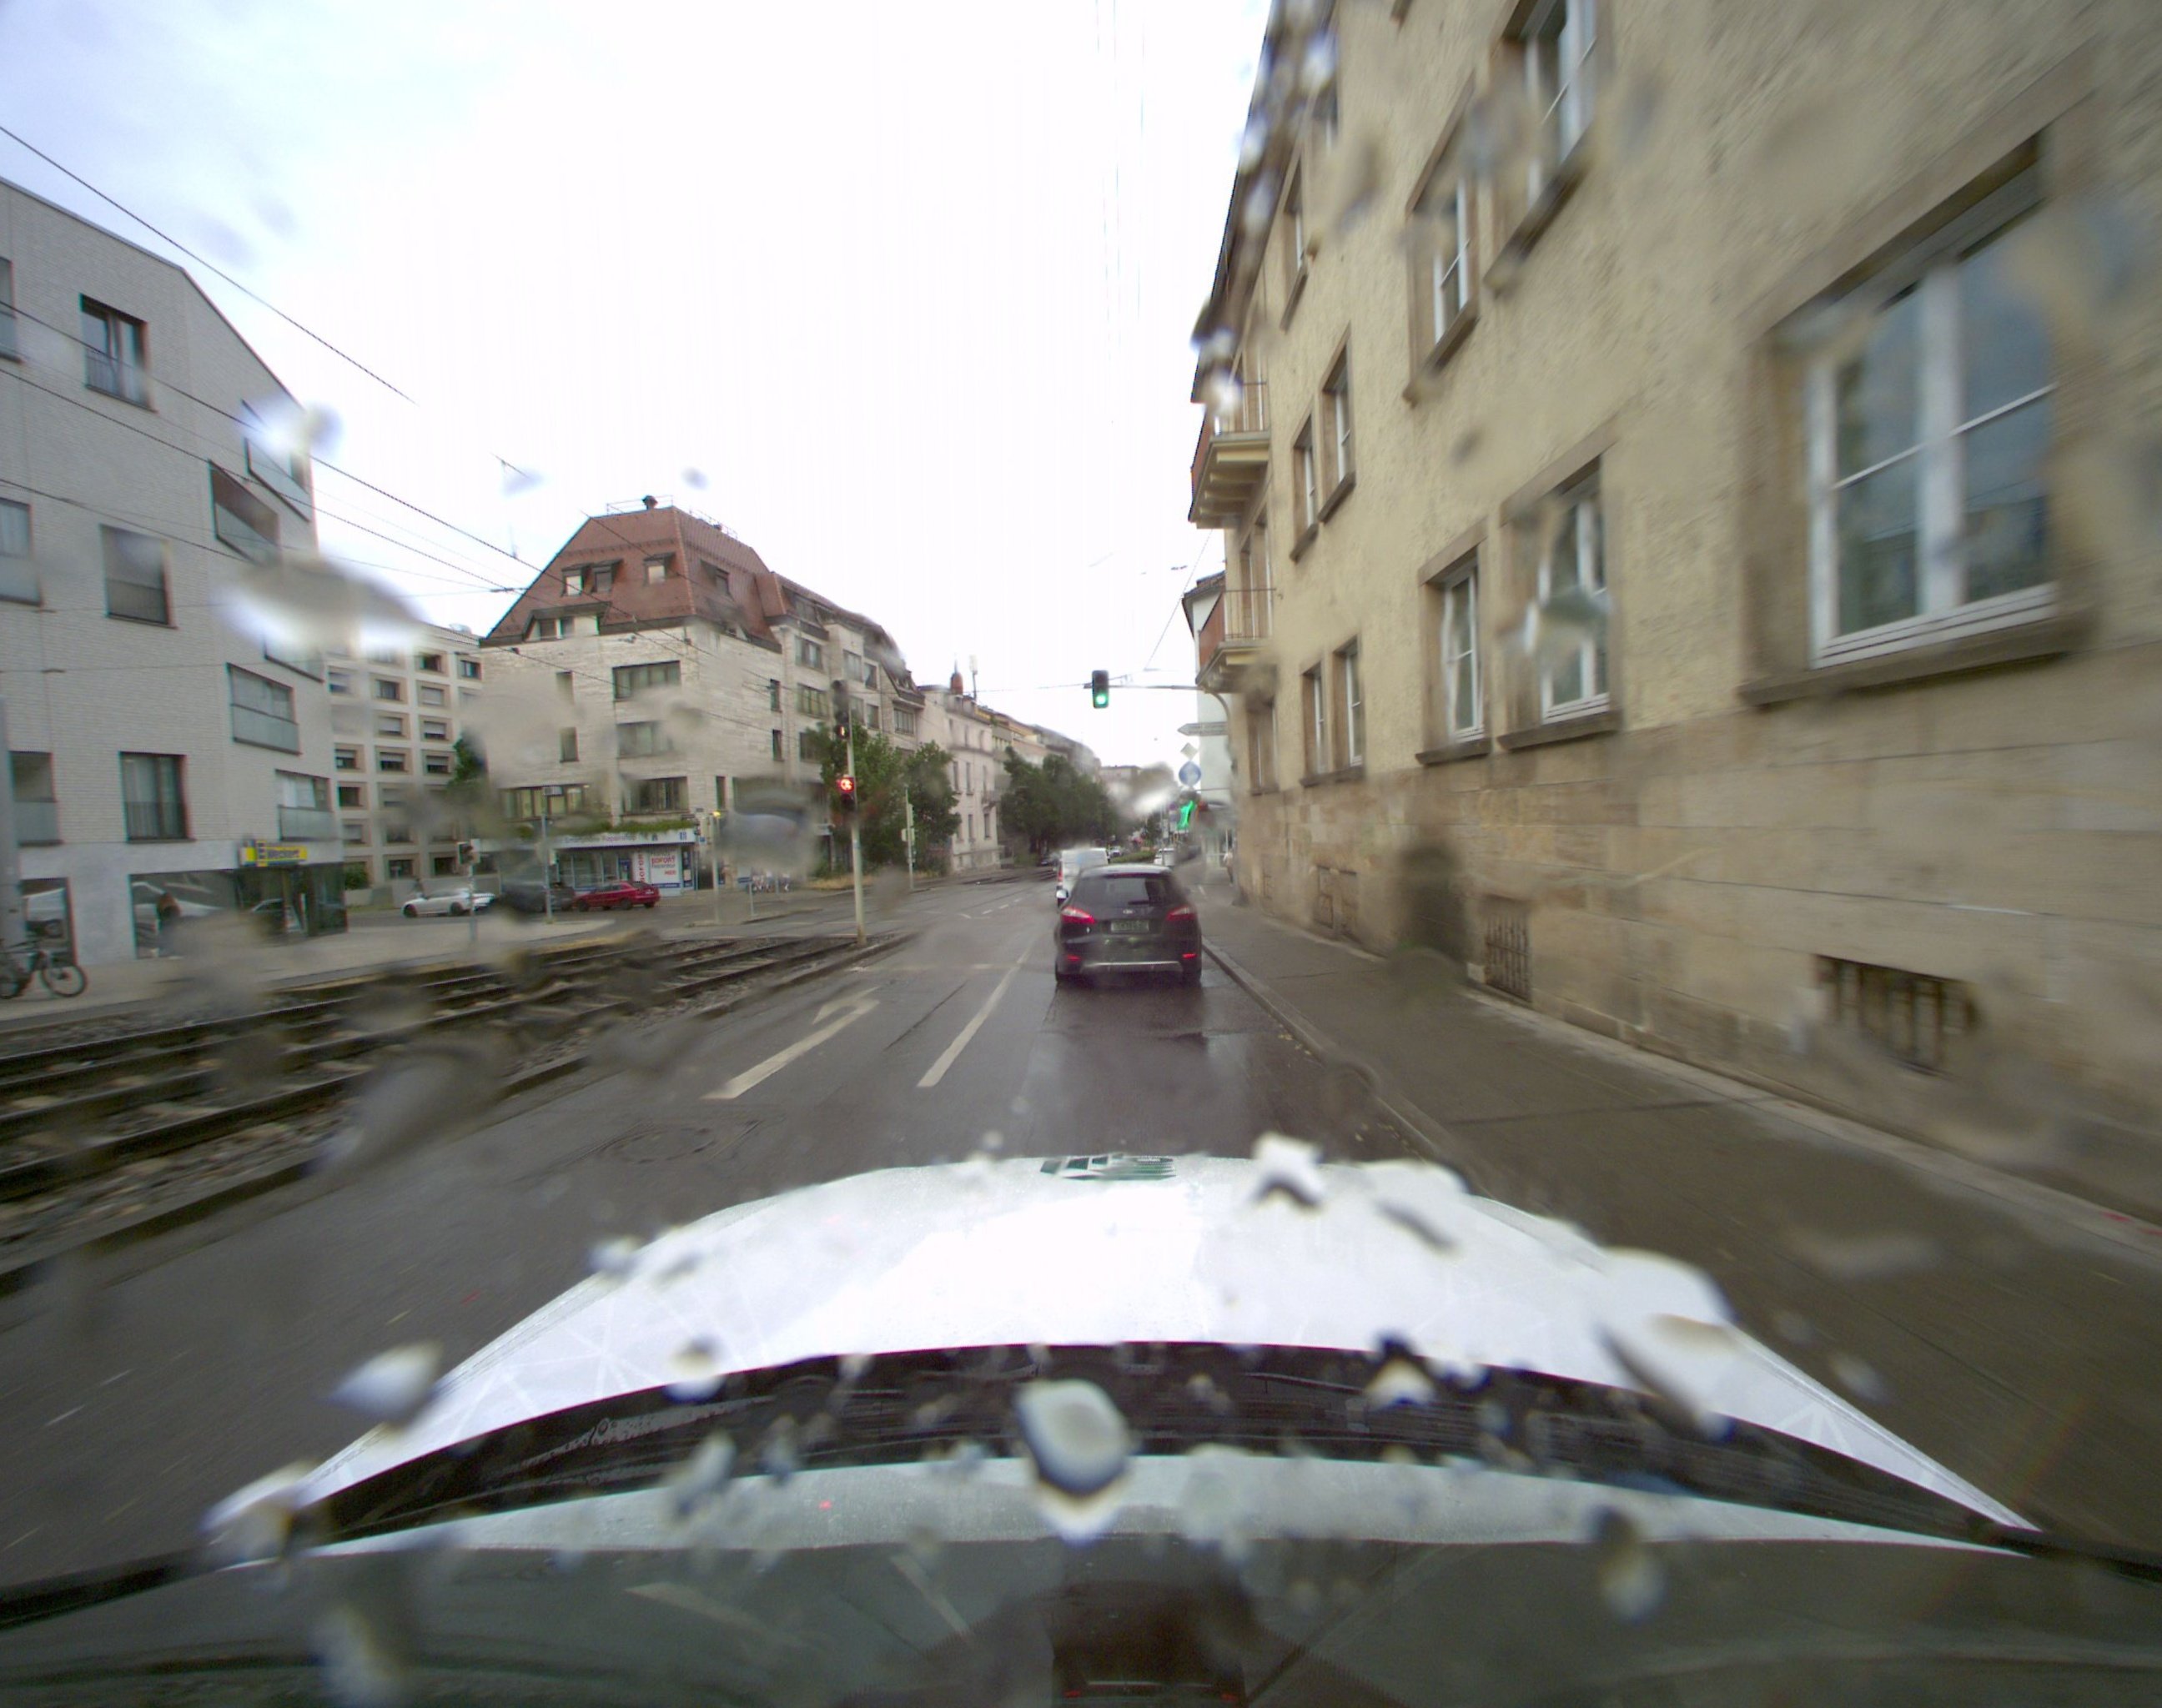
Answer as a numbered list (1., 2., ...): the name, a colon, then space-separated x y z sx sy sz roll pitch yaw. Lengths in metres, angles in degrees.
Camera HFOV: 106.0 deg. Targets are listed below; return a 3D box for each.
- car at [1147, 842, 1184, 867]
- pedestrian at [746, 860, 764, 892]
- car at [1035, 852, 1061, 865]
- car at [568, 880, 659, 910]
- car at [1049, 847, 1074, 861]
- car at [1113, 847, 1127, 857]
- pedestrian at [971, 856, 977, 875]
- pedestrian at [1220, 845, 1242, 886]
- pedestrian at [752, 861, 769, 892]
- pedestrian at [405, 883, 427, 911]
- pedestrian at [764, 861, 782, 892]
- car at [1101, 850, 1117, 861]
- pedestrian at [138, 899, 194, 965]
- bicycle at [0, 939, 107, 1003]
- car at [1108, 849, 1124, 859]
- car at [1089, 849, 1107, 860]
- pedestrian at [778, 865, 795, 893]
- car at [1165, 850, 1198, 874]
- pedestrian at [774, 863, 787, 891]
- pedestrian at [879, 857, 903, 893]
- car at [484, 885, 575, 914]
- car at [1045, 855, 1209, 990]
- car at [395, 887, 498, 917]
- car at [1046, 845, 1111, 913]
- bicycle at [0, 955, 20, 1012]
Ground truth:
1. car: 5.538 0.062 52.667 1.789 1.455 4.602 -4 -1 12
2. pedestrian: -18.890 1.269 47.186 0.643 1.842 0.686 0 -1 10
3. car: -3.650 0.482 90.497 1.682 1.377 4.736 -2 -1 12
4. car: -22.960 2.025 40.065 3.670 1.318 1.599 -2 -1 11
5. car: -2.306 0.050 96.899 1.843 1.548 4.736 -2 -1 12
6. car: 6.856 -0.340 142.438 1.683 1.573 4.059 -2 -1 12
7. pedestrian: -9.542 1.040 72.908 0.466 1.652 0.582 0 -1 0
8. pedestrian: 6.048 0.471 32.804 0.686 1.572 0.763 -3 -1 1
9. pedestrian: -18.186 1.272 46.180 0.643 1.749 0.686 0 -1 10
10. pedestrian: -37.909 2.458 46.442 0.677 1.549 0.651 0 -1 10
11. pedestrian: -17.445 1.278 46.131 0.643 1.724 0.686 0 -1 10
12. car: 4.328 0.213 126.564 1.656 1.558 4.059 -2 -1 12
13. pedestrian: -23.222 1.957 20.683 0.650 1.569 0.770 -2 0 -26
14. bicycle: -18.034 2.029 14.066 1.779 0.980 0.440 -3 -1 -3
15. car: 5.869 -0.005 135.711 1.843 1.637 4.952 -2 -1 12
16. car: 2.485 0.027 119.588 1.843 1.527 4.059 -2 -1 12
17. pedestrian: -16.692 1.421 46.104 0.643 1.549 0.686 0 -1 10
18. car: 7.389 0.573 59.546 1.833 1.632 4.602 -2 -1 12
19. pedestrian: -17.435 1.316 47.227 0.501 1.598 0.587 0 -1 10
20. pedestrian: -9.811 1.081 42.068 0.926 1.830 0.960 0 -1 4
21. car: -27.681 2.283 40.920 3.670 1.318 1.599 -2 -1 11
22. car: 0.587 0.800 11.201 1.835 1.507 4.001 -1 -1 2
23. car: -32.553 2.469 41.797 4.458 1.318 1.598 -2 -1 11
24. car: -0.030 0.798 27.416 1.981 2.060 4.645 -1 -1 1
25. bicycle: -17.867 2.046 12.812 1.778 0.876 0.387 0 -1 -1
